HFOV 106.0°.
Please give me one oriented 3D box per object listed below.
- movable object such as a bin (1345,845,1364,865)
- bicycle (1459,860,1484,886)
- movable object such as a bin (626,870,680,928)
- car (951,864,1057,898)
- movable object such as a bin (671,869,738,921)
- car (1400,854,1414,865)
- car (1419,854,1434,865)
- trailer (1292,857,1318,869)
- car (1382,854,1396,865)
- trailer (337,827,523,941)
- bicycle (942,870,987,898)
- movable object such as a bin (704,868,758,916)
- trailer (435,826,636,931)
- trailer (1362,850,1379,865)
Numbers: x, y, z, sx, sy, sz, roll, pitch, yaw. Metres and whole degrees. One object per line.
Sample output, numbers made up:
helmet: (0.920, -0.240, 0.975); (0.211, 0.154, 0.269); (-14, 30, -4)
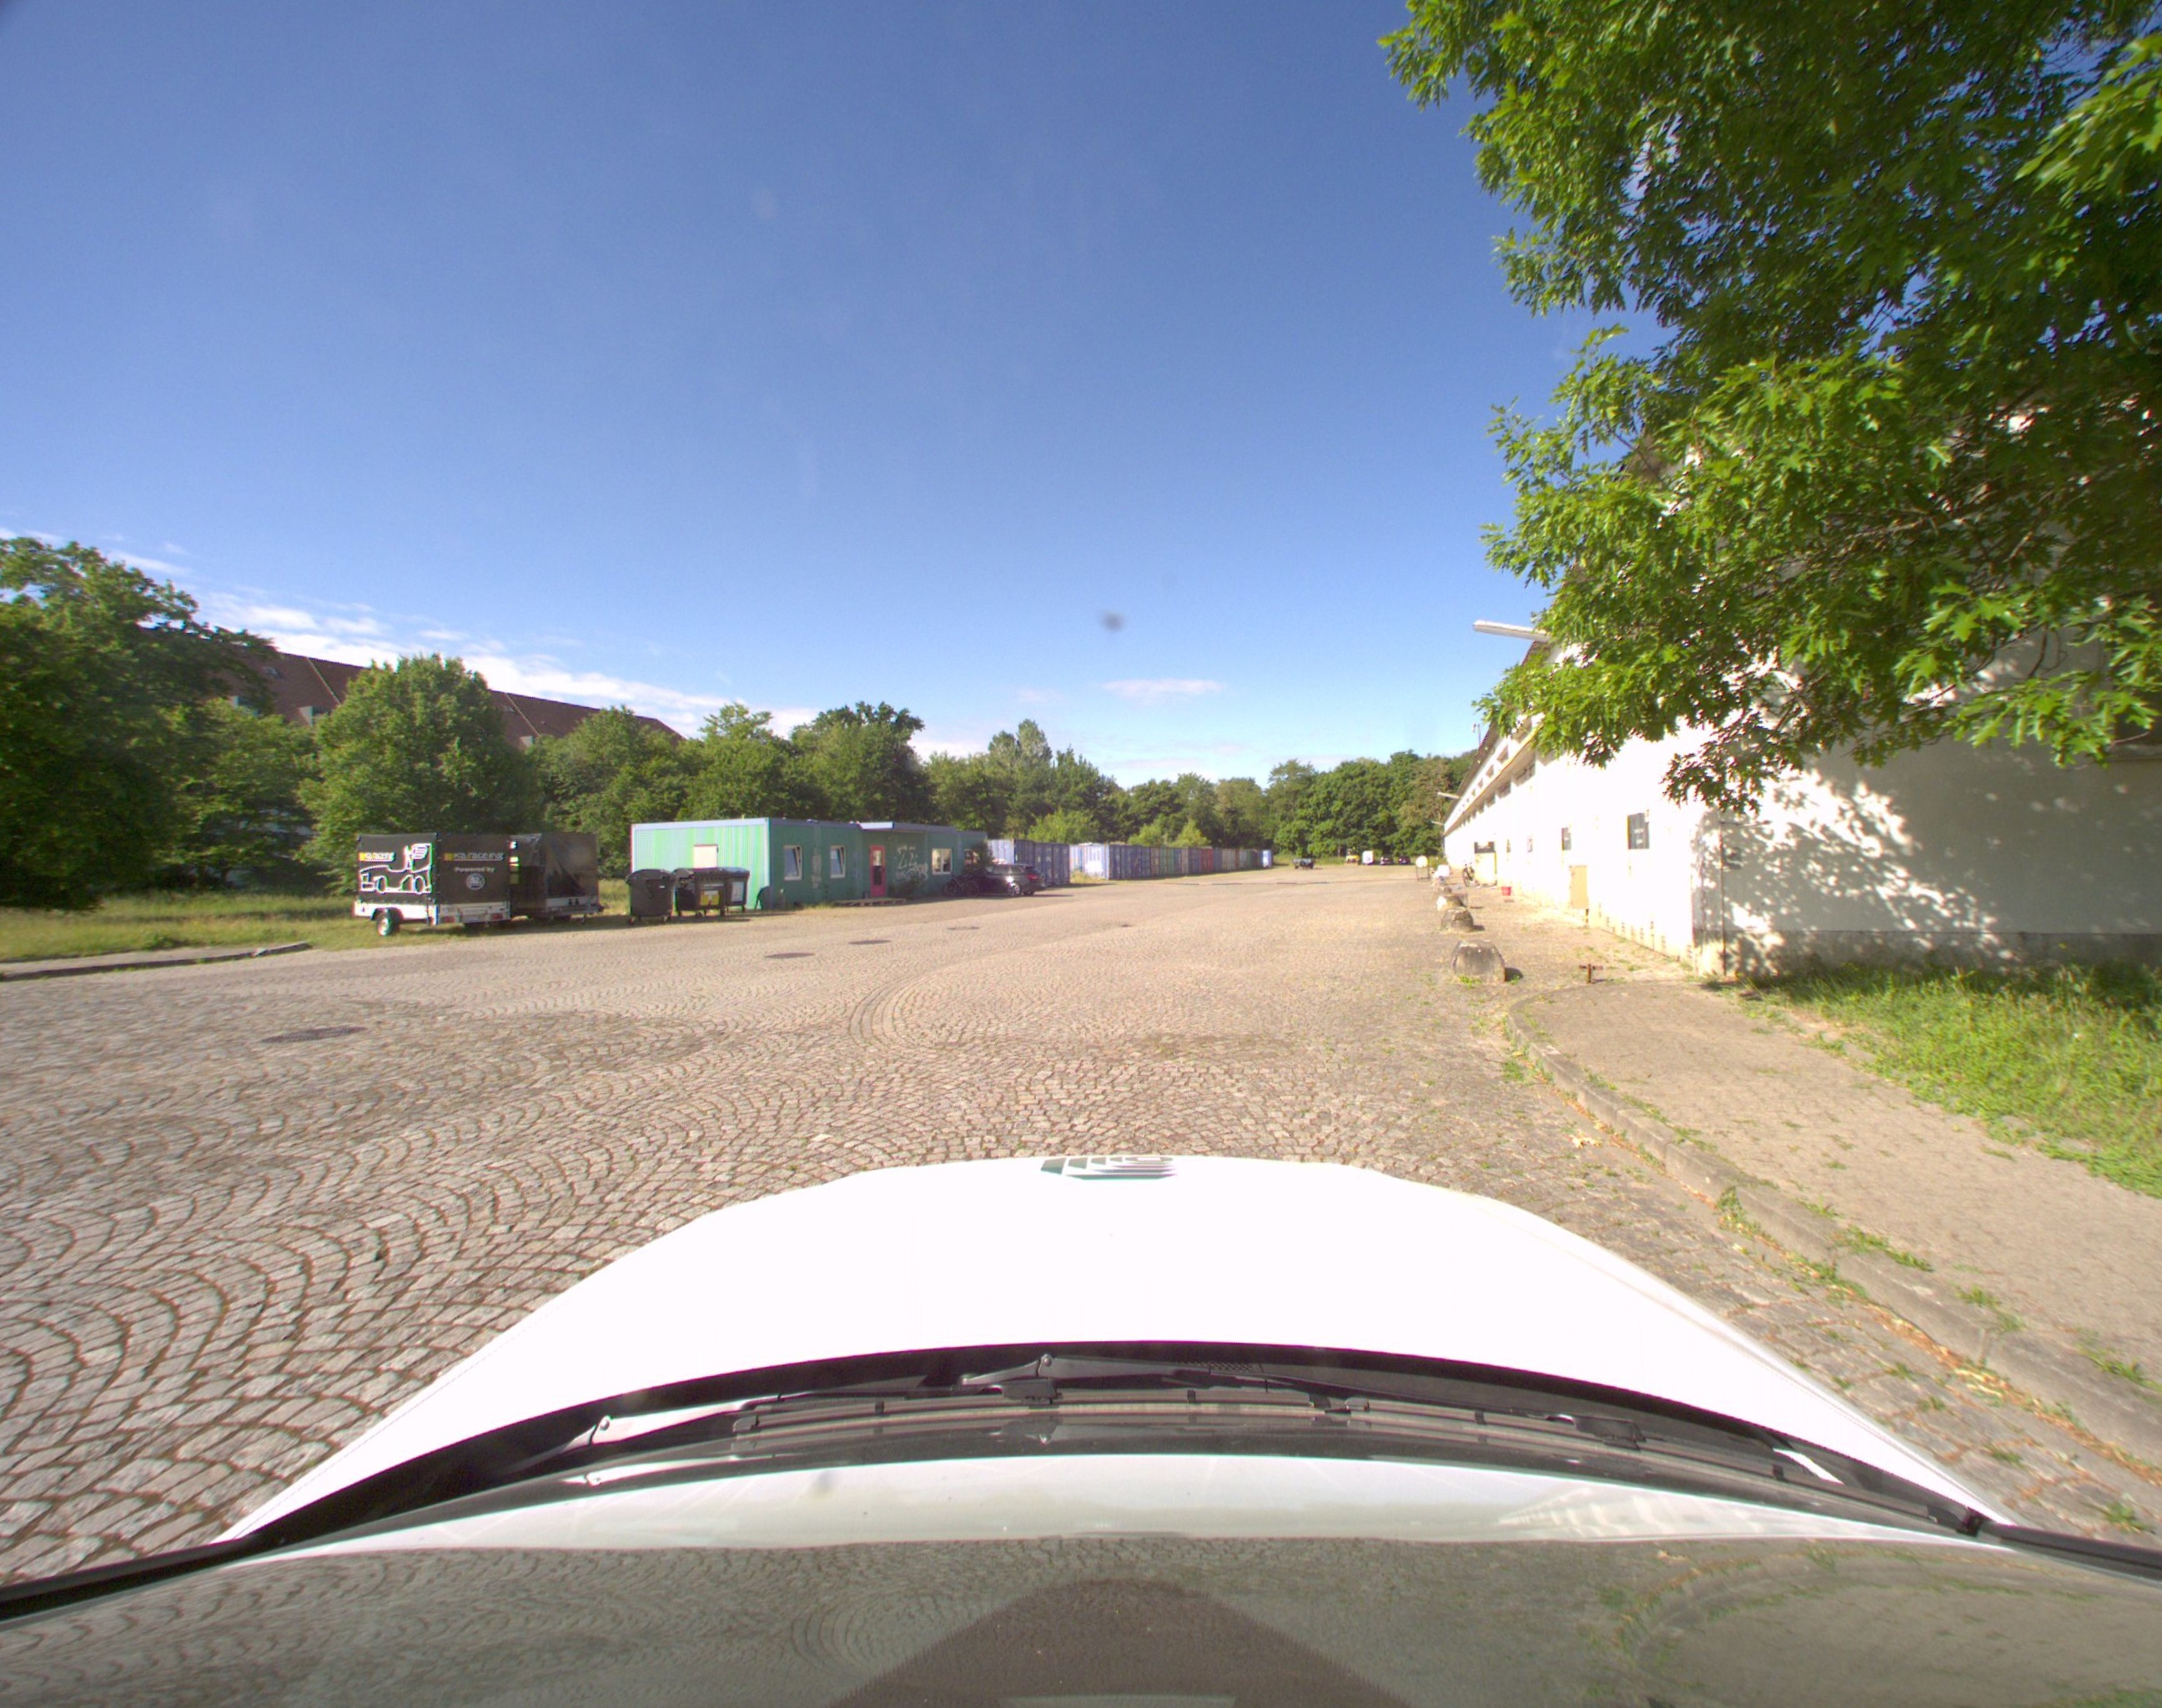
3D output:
movable object such as a bin: (42.543, 0.147, 126.489); (2.286, 2.896, 5.783); (0, 1, 24)
bicycle: (16.497, 0.795, 34.356); (0.658, 1.068, 1.835); (-1, -1, 35)
movable object such as a bin: (-11.244, 1.149, 21.451); (1.158, 1.458, 1.427); (0, -1, -24)
car: (-3.386, 1.168, 36.032); (4.215, 1.449, 1.941); (-1, -1, 21)
movable object such as a bin: (-10.879, 1.166, 23.596); (1.009, 1.458, 1.448); (-1, -1, 22)
car: (48.454, 0.816, 121.153); (1.847, 1.470, 4.319); (0, 1, 23)
car: (50.958, 0.806, 120.031); (1.728, 1.436, 4.208); (0, 1, 28)
trailer: (30.019, 1.160, 109.194); (2.682, 1.465, 6.280); (0, 1, 21)
car: (46.033, 0.774, 121.772); (1.847, 1.589, 4.319); (0, 1, 23)
trailer: (-15.335, 0.670, 19.225); (3.355, 2.470, 2.055); (-1, -1, 23)
bicycle: (-4.976, 1.280, 34.705); (1.788, 1.170, 0.672); (-1, -1, 20)
movable object such as a bin: (-10.917, 1.169, 25.438); (0.876, 1.458, 1.445); (0, -1, 12)
trailer: (-14.362, 0.624, 21.489); (4.598, 2.568, 1.961); (0, -1, 19)
trailer: (44.491, 0.493, 125.019); (2.174, 2.094, 5.783); (0, 1, 23)
